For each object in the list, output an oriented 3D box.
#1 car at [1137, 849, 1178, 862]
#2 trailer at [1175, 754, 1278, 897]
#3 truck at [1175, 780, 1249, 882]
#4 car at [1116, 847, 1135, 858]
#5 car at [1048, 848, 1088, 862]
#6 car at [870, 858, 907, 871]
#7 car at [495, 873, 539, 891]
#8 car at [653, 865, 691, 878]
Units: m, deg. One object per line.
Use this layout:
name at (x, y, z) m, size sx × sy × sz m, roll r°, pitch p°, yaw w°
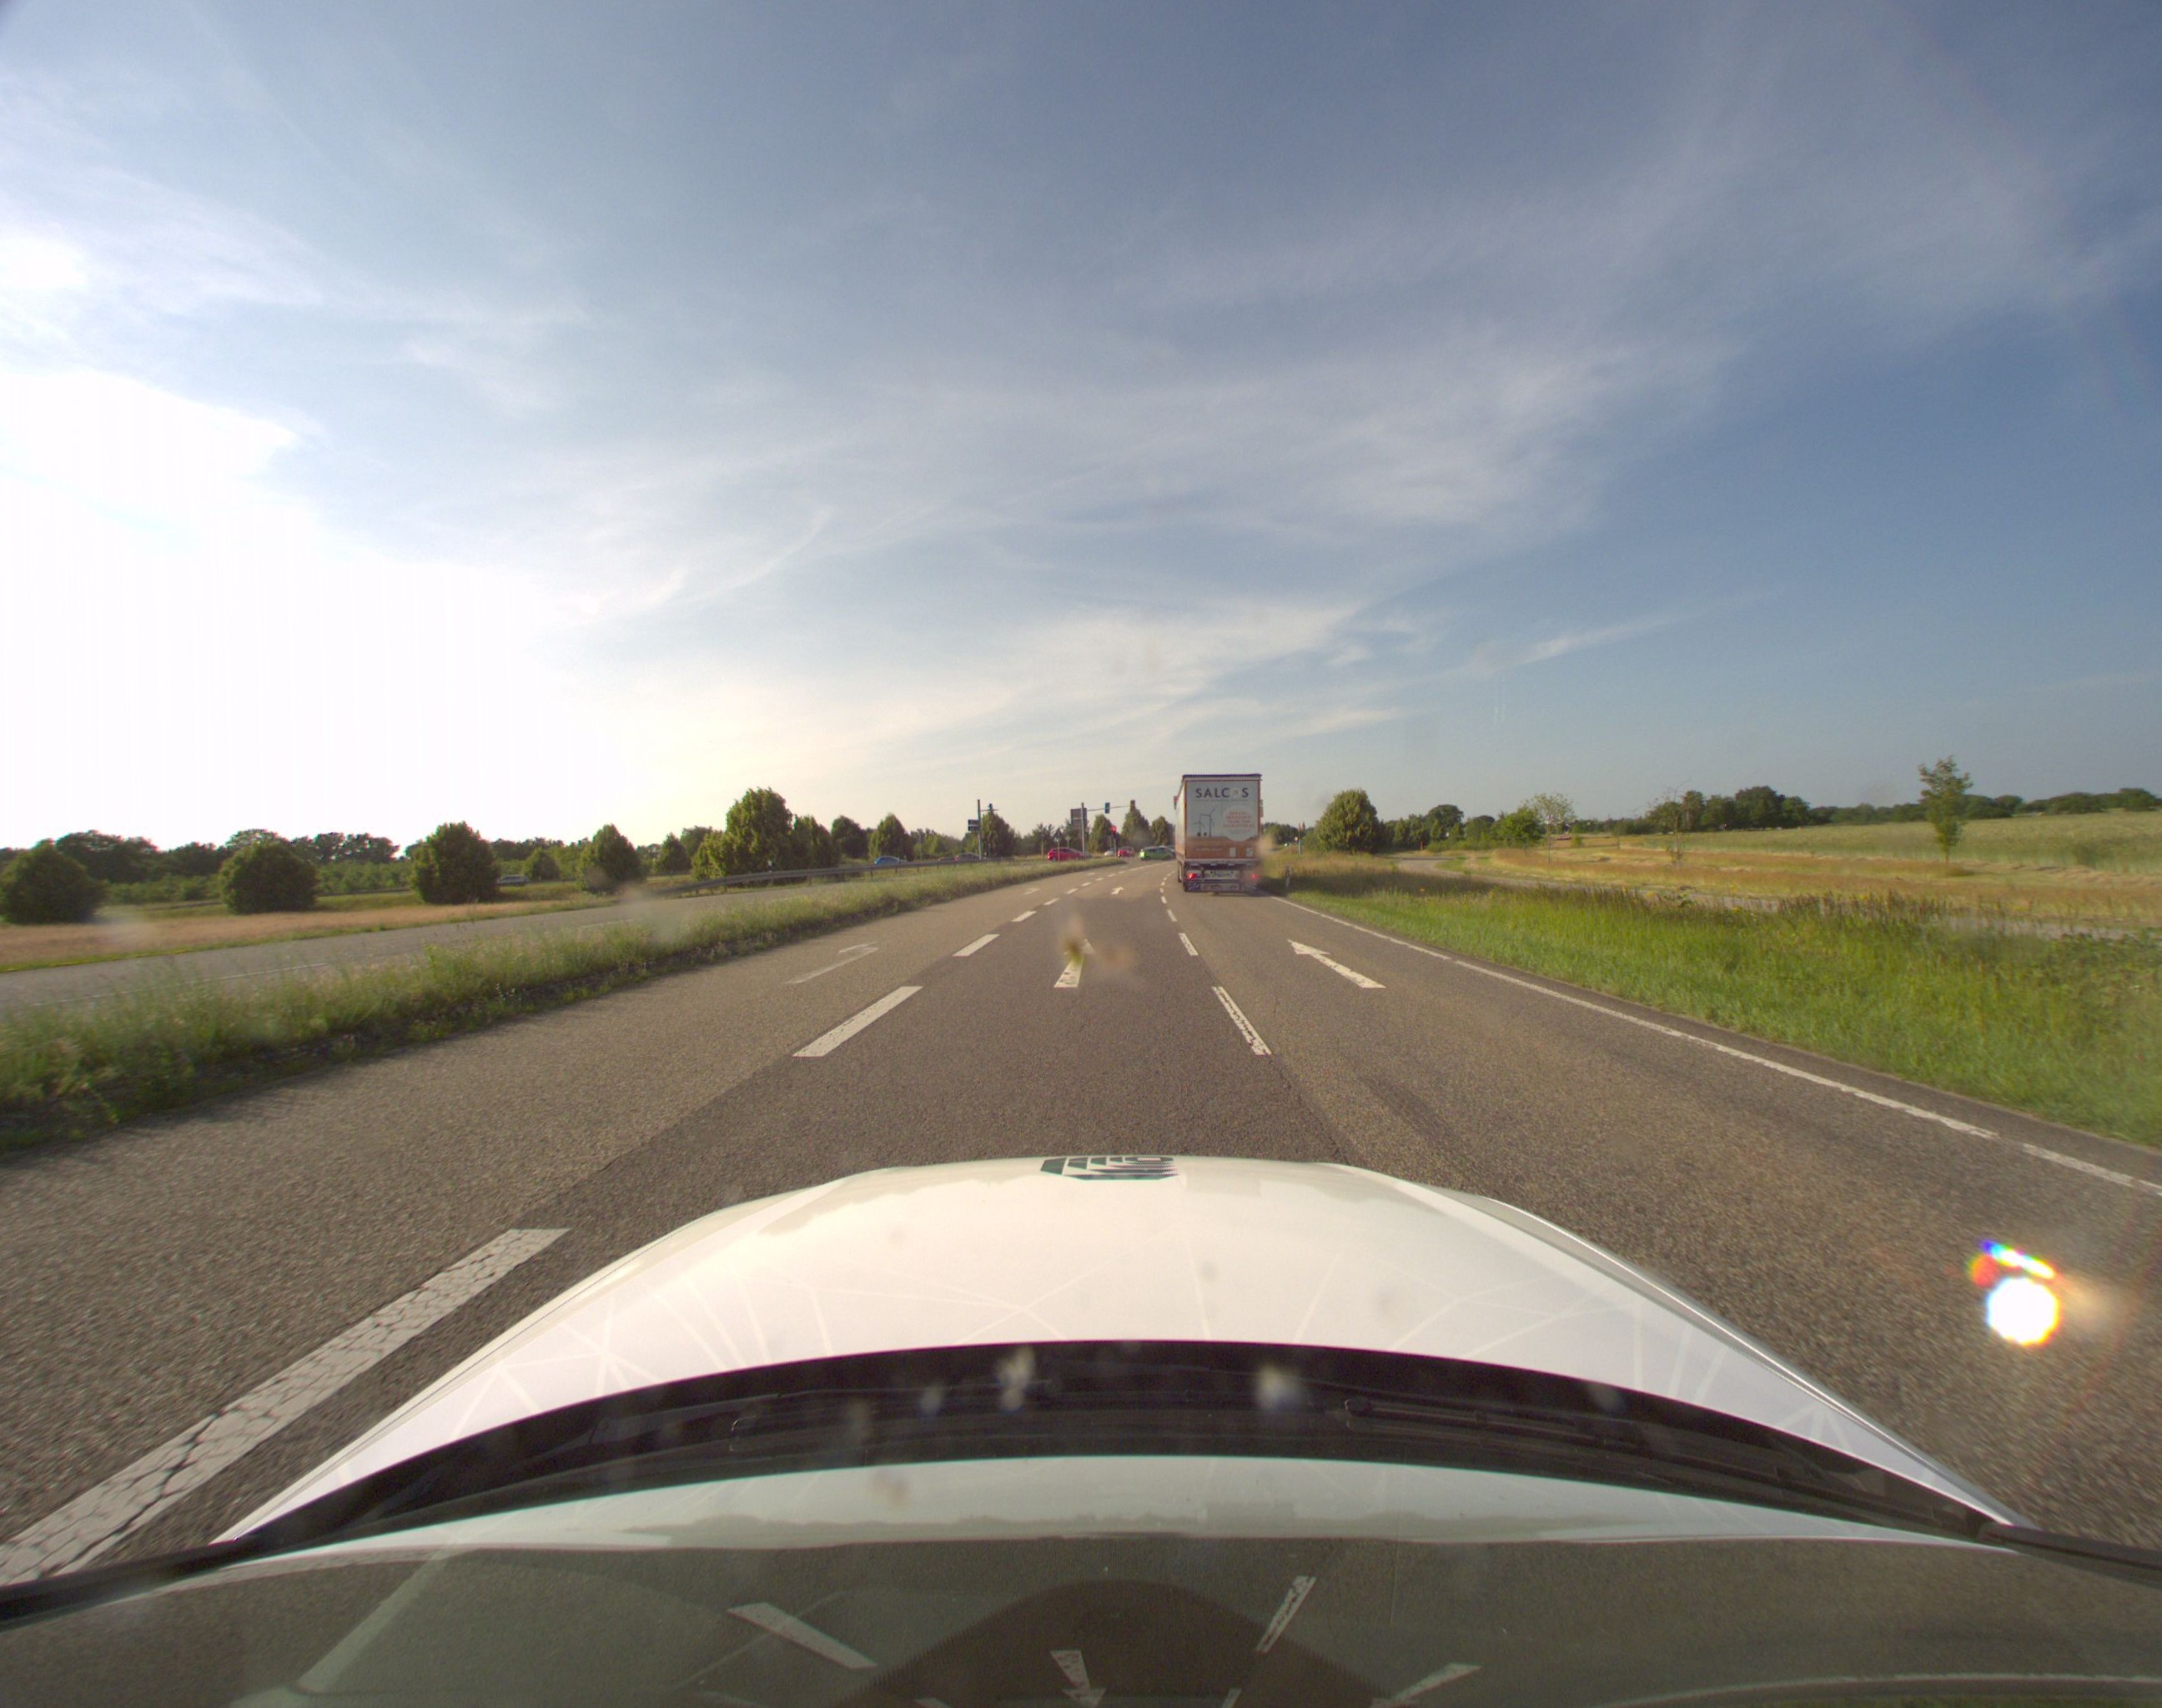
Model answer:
car at (8.662, 0.166, 92.055) m, size 4.412 × 1.417 × 1.918 m, roll 0°, pitch -1°, yaw -3°
trailer at (5.523, -0.987, 33.336) m, size 3.264 × 4.681 × 13.171 m, roll 0°, pitch 0°, yaw 6°
truck at (6.288, -1.046, 40.039) m, size 3.283 × 4.657 × 5.742 m, roll 0°, pitch 0°, yaw 6°
car at (6.298, -0.178, 115.542) m, size 1.706 × 1.488 × 3.823 m, roll -2°, pitch 0°, yaw 19°
car at (-1.470, 0.164, 93.056) m, size 4.240 × 1.565 × 1.905 m, roll 0°, pitch -1°, yaw 7°
car at (-23.089, 1.273, 97.849) m, size 3.942 × 1.492 × 1.786 m, roll -1°, pitch 0°, yaw 15°
car at (-69.089, 3.418, 99.822) m, size 3.984 × 2.014 × 1.995 m, roll 0°, pitch -1°, yaw -8°
car at (-54.965, 2.315, 109.450) m, size 3.975 × 1.667 × 1.999 m, roll 0°, pitch -1°, yaw -1°
